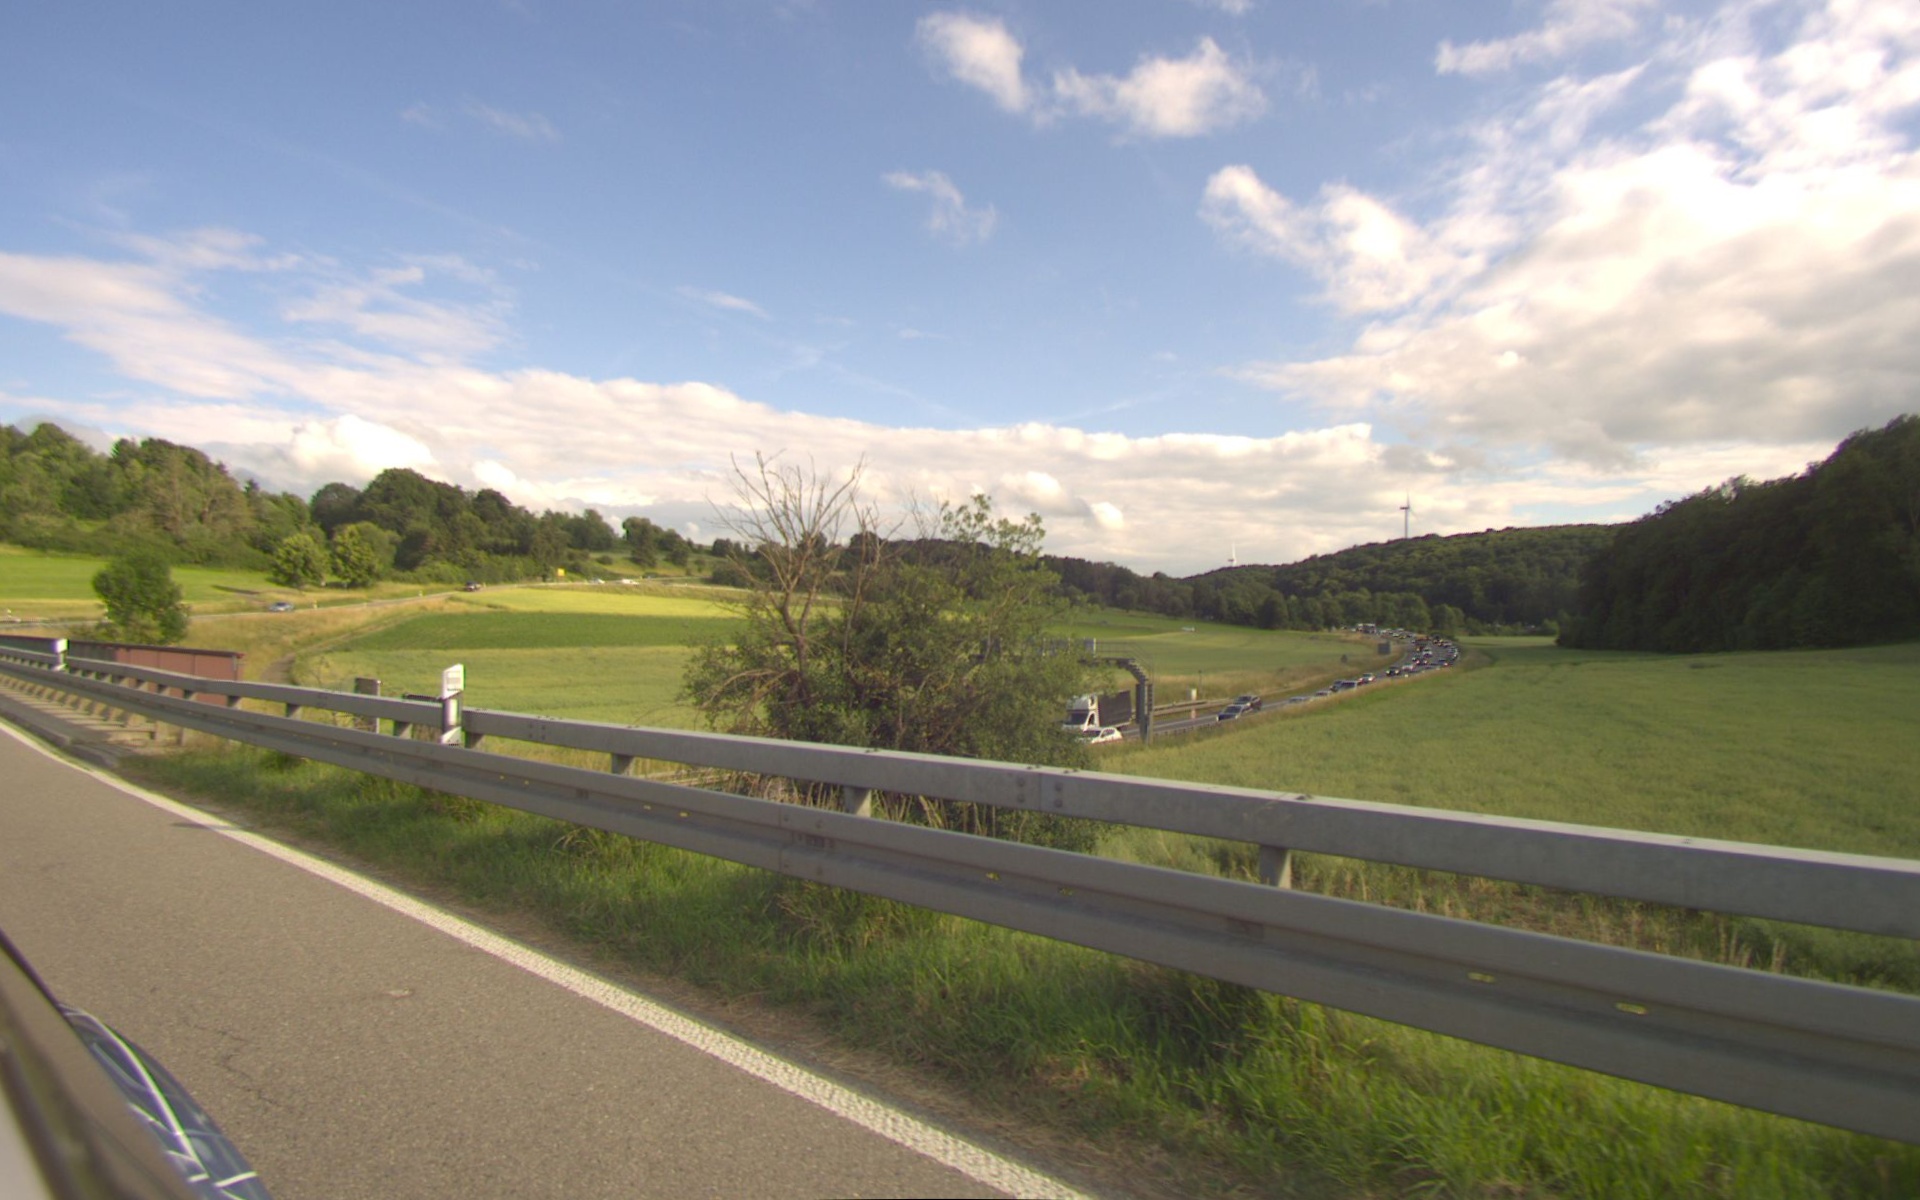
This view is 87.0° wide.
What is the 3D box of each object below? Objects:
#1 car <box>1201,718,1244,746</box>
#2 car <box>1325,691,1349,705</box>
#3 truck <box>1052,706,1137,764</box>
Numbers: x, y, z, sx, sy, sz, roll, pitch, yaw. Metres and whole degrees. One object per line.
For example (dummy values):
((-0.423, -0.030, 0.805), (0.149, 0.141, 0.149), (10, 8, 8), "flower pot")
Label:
((20.182, 10.100, 77.677), (1.825, 1.662, 3.950), (-1, -2, 37), "car")
((46.875, 12.134, 125.826), (1.824, 1.454, 3.952), (-1, -2, 35), "car")
((9.763, 9.539, 72.486), (2.121, 3.431, 8.386), (-1, -3, 38), "truck")
